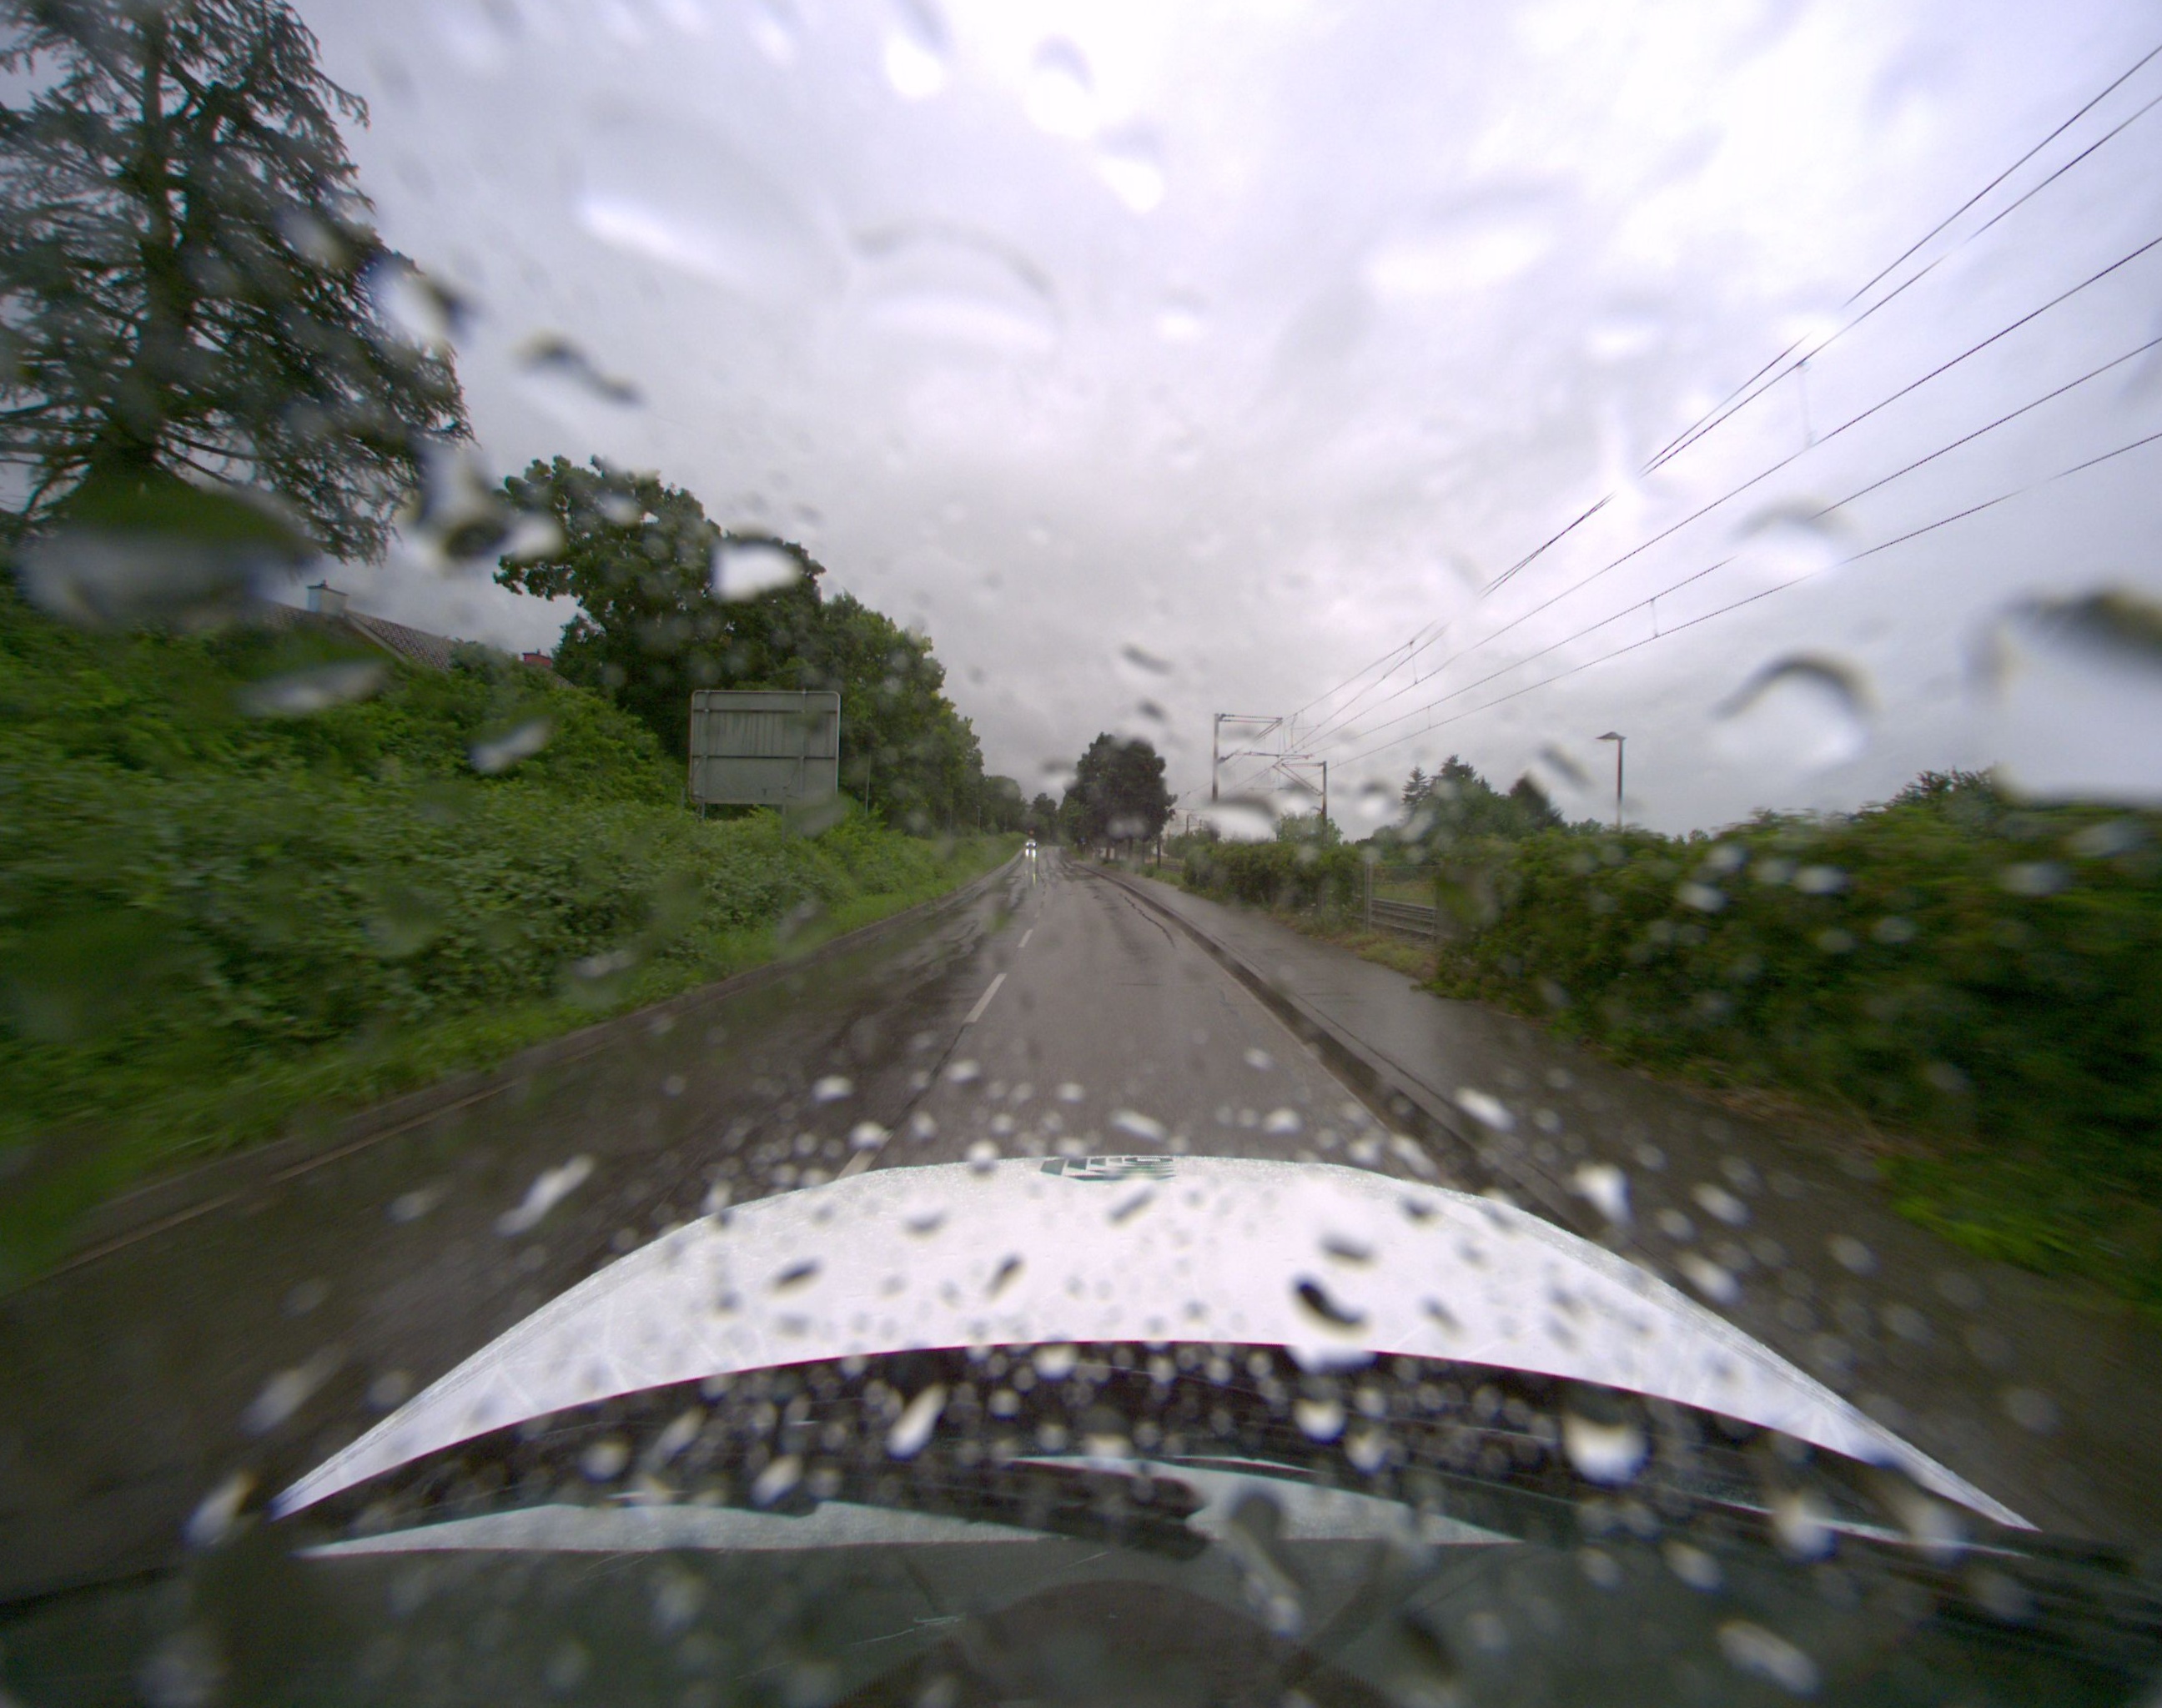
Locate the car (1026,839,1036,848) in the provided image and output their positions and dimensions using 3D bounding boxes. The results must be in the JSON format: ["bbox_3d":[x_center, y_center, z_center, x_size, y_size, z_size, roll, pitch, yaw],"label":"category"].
[{"bbox_3d":[-9.408,-1.960,153.325,1.741,1.611,4.083,2,1,-3],"label":"car"}]
